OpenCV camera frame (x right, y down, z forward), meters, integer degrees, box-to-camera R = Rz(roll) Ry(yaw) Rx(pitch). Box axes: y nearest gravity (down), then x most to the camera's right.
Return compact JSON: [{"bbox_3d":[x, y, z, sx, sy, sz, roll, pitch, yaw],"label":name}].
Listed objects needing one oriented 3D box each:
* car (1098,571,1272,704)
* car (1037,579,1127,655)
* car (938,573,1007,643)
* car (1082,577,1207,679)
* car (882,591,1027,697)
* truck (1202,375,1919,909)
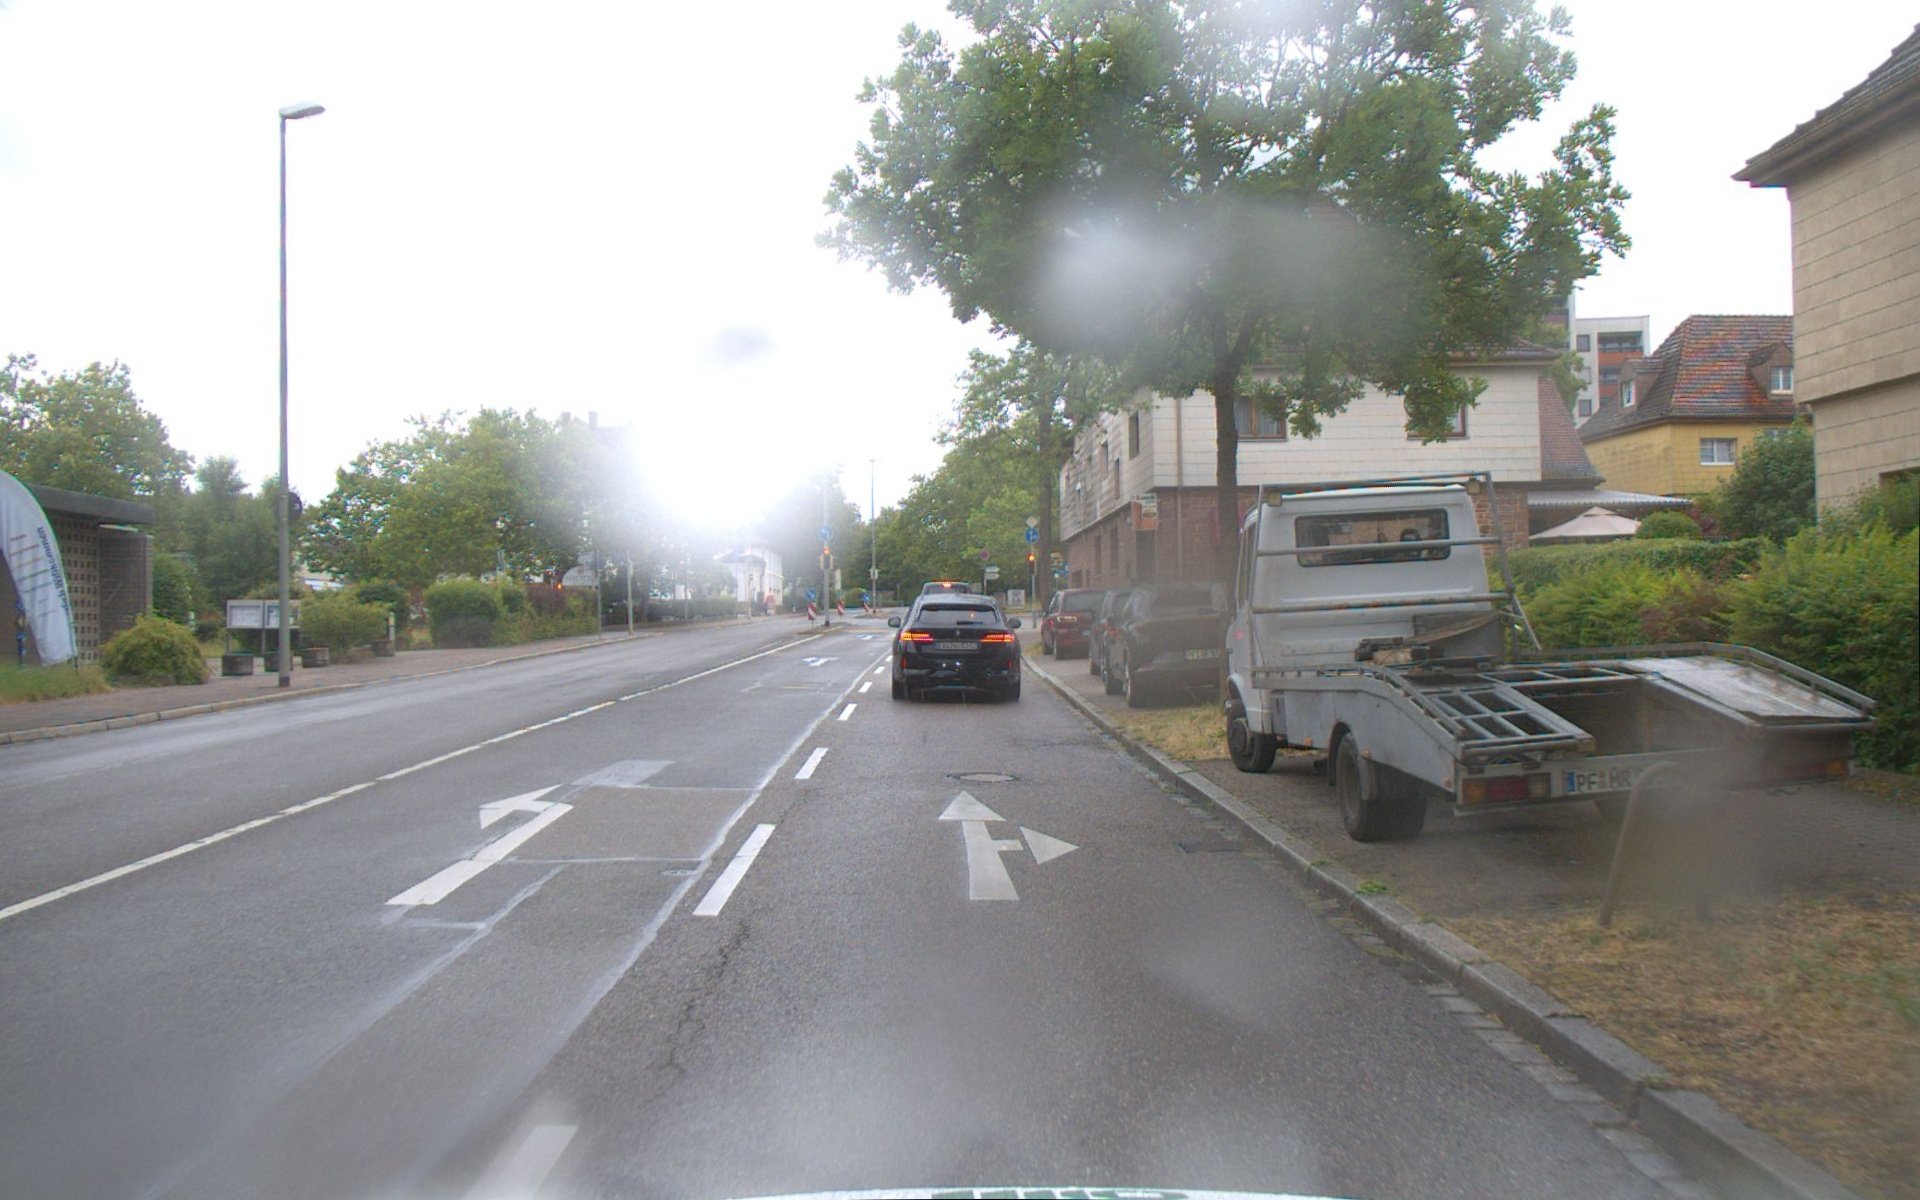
[{"bbox_3d":[2.925,0.437,22.305,1.679,1.524,4.183,-4,1,0],"label":"car"},{"bbox_3d":[2.739,0.341,37.767,1.552,1.516,3.626,-4,1,-2],"label":"car"},{"bbox_3d":[0.295,0.182,46.043,1.748,1.849,3.999,-1,1,-2],"label":"car"},{"bbox_3d":[3.072,0.416,28.140,1.572,1.497,3.856,-4,1,0],"label":"car"},{"bbox_3d":[-0.163,0.603,25.261,2.023,1.472,4.481,0,0,-2],"label":"car"},{"bbox_3d":[3.220,0.150,10.686,2.038,2.260,6.499,-4,1,-2],"label":"truck"}]
